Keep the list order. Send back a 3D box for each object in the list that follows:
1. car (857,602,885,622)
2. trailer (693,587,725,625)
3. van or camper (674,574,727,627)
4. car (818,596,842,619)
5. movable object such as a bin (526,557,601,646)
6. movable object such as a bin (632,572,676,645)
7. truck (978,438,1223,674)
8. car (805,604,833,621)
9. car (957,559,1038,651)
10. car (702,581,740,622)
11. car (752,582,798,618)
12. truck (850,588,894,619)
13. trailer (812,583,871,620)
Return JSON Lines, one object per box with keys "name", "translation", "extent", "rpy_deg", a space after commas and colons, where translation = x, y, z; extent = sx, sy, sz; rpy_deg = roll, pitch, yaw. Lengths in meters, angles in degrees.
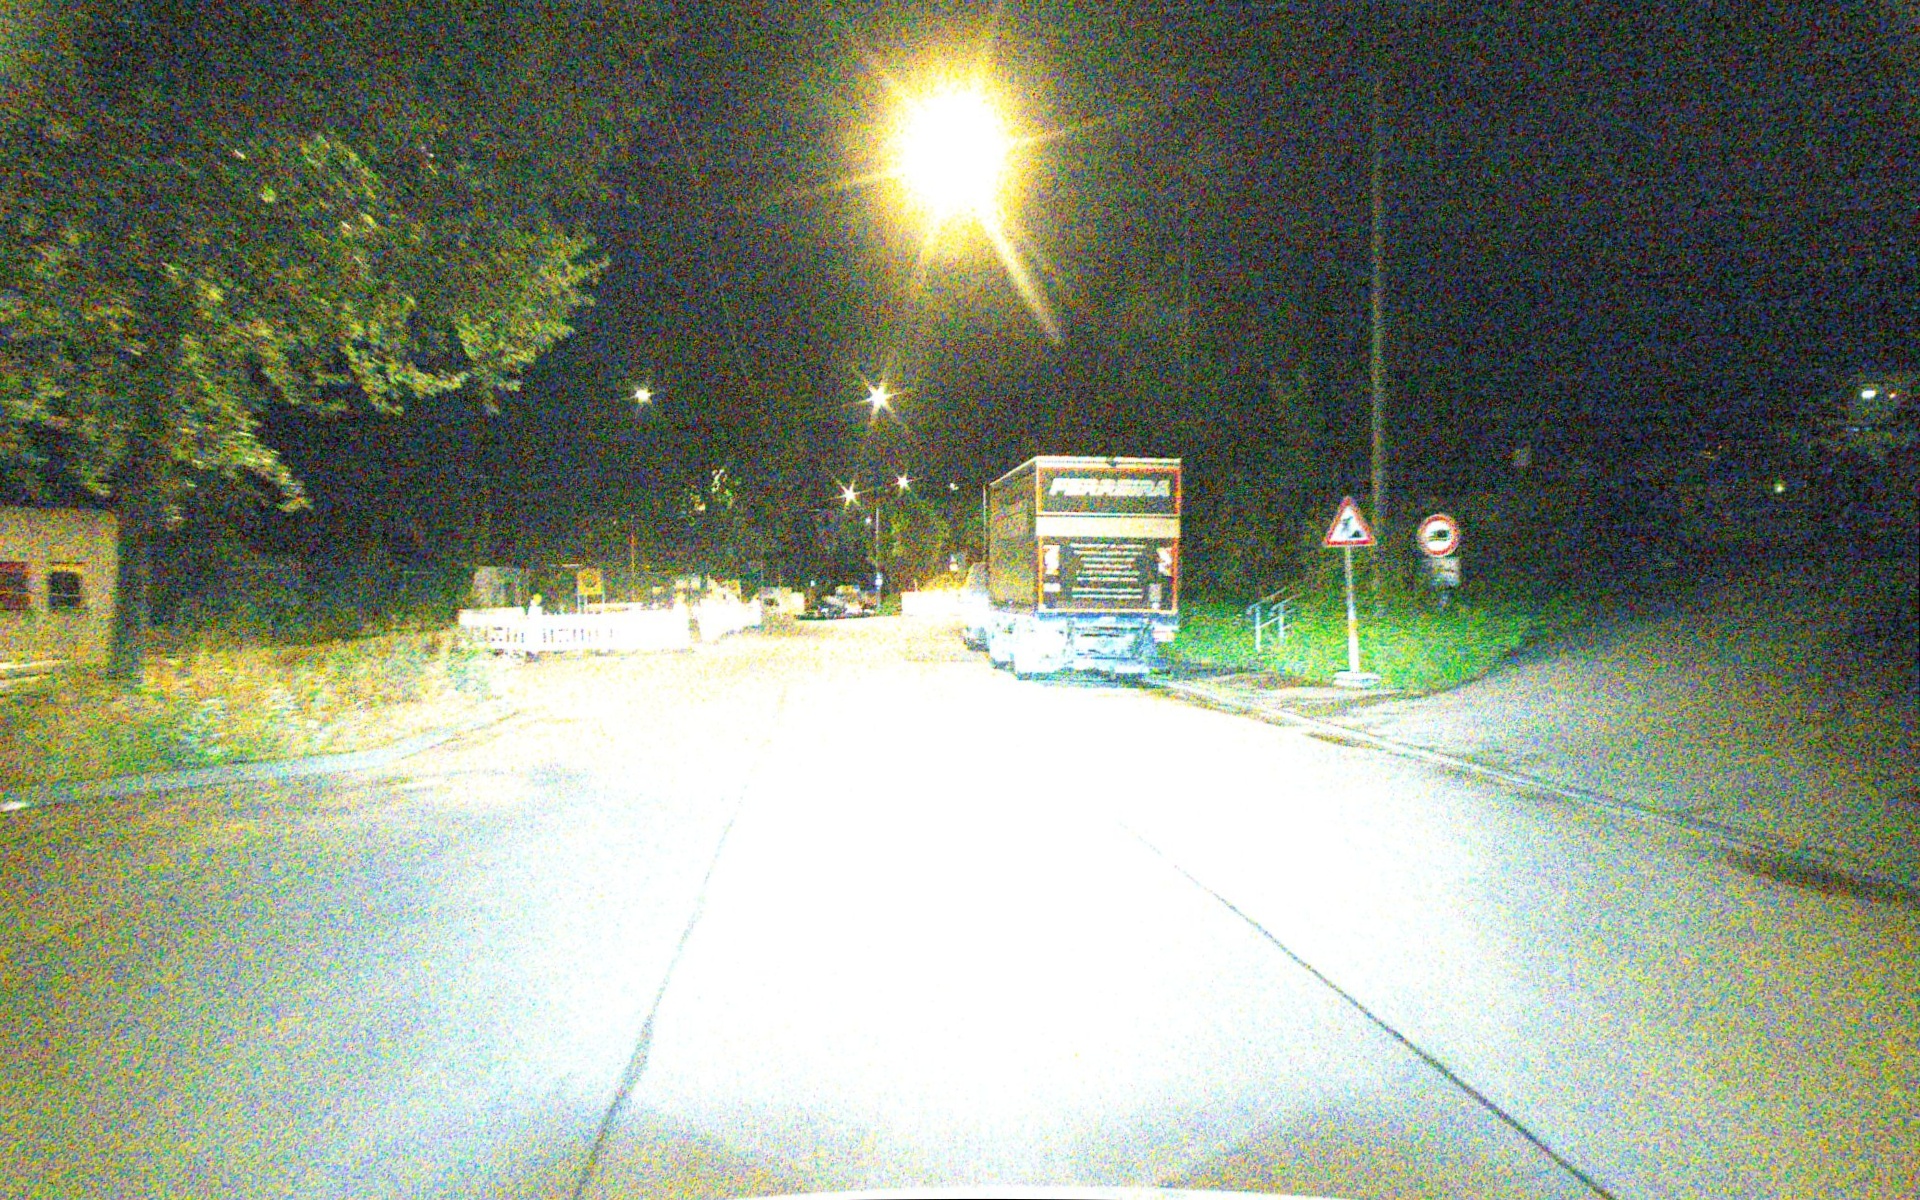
{"name": "car", "translation": [-8.159, 1.112, 152.457], "extent": [1.684, 1.853, 4.003], "rpy_deg": [-1, -1, 11]}
{"name": "trailer", "translation": [-18.375, 0.409, 121.157], "extent": [1.955, 2.571, 3.565], "rpy_deg": [-3, 2, -5]}
{"name": "van or camper", "translation": [-16.500, 0.040, 105.567], "extent": [2.469, 3.148, 7.440], "rpy_deg": [-3, 0, -3]}
{"name": "car", "translation": [-9.738, 0.580, 123.982], "extent": [1.687, 1.690, 3.996], "rpy_deg": [-1, -1, -4]}
{"name": "movable object such as a bin", "translation": [-11.795, 0.062, 49.125], "extent": [1.529, 2.510, 2.817], "rpy_deg": [-3, 0, -25]}
{"name": "movable object such as a bin", "translation": [-12.572, 0.307, 67.874], "extent": [1.543, 2.781, 3.691], "rpy_deg": [-4, 2, -11]}
{"name": "truck", "translation": [2.414, -0.764, 32.409], "extent": [3.259, 3.936, 9.318], "rpy_deg": [-1, 0, -5]}
{"name": "car", "translation": [-14.955, 1.307, 176.005], "extent": [1.951, 1.729, 4.210], "rpy_deg": [-1, -1, 10]}
{"name": "car", "translation": [1.053, 0.094, 49.754], "extent": [2.066, 2.560, 6.369], "rpy_deg": [0, 1, -2]}
{"name": "car", "translation": [-18.779, 0.109, 130.347], "extent": [2.471, 2.978, 7.192], "rpy_deg": [-3, 0, -6]}
{"name": "car", "translation": [-17.826, -0.039, 160.146], "extent": [2.465, 3.226, 7.144], "rpy_deg": [-3, 0, 9]}
{"name": "truck", "translation": [-10.294, 0.429, 195.025], "extent": [1.952, 3.463, 8.983], "rpy_deg": [0, 1, 19]}
{"name": "trailer", "translation": [-7.849, 0.134, 109.165], "extent": [1.544, 2.198, 5.164], "rpy_deg": [-3, 0, -32]}
